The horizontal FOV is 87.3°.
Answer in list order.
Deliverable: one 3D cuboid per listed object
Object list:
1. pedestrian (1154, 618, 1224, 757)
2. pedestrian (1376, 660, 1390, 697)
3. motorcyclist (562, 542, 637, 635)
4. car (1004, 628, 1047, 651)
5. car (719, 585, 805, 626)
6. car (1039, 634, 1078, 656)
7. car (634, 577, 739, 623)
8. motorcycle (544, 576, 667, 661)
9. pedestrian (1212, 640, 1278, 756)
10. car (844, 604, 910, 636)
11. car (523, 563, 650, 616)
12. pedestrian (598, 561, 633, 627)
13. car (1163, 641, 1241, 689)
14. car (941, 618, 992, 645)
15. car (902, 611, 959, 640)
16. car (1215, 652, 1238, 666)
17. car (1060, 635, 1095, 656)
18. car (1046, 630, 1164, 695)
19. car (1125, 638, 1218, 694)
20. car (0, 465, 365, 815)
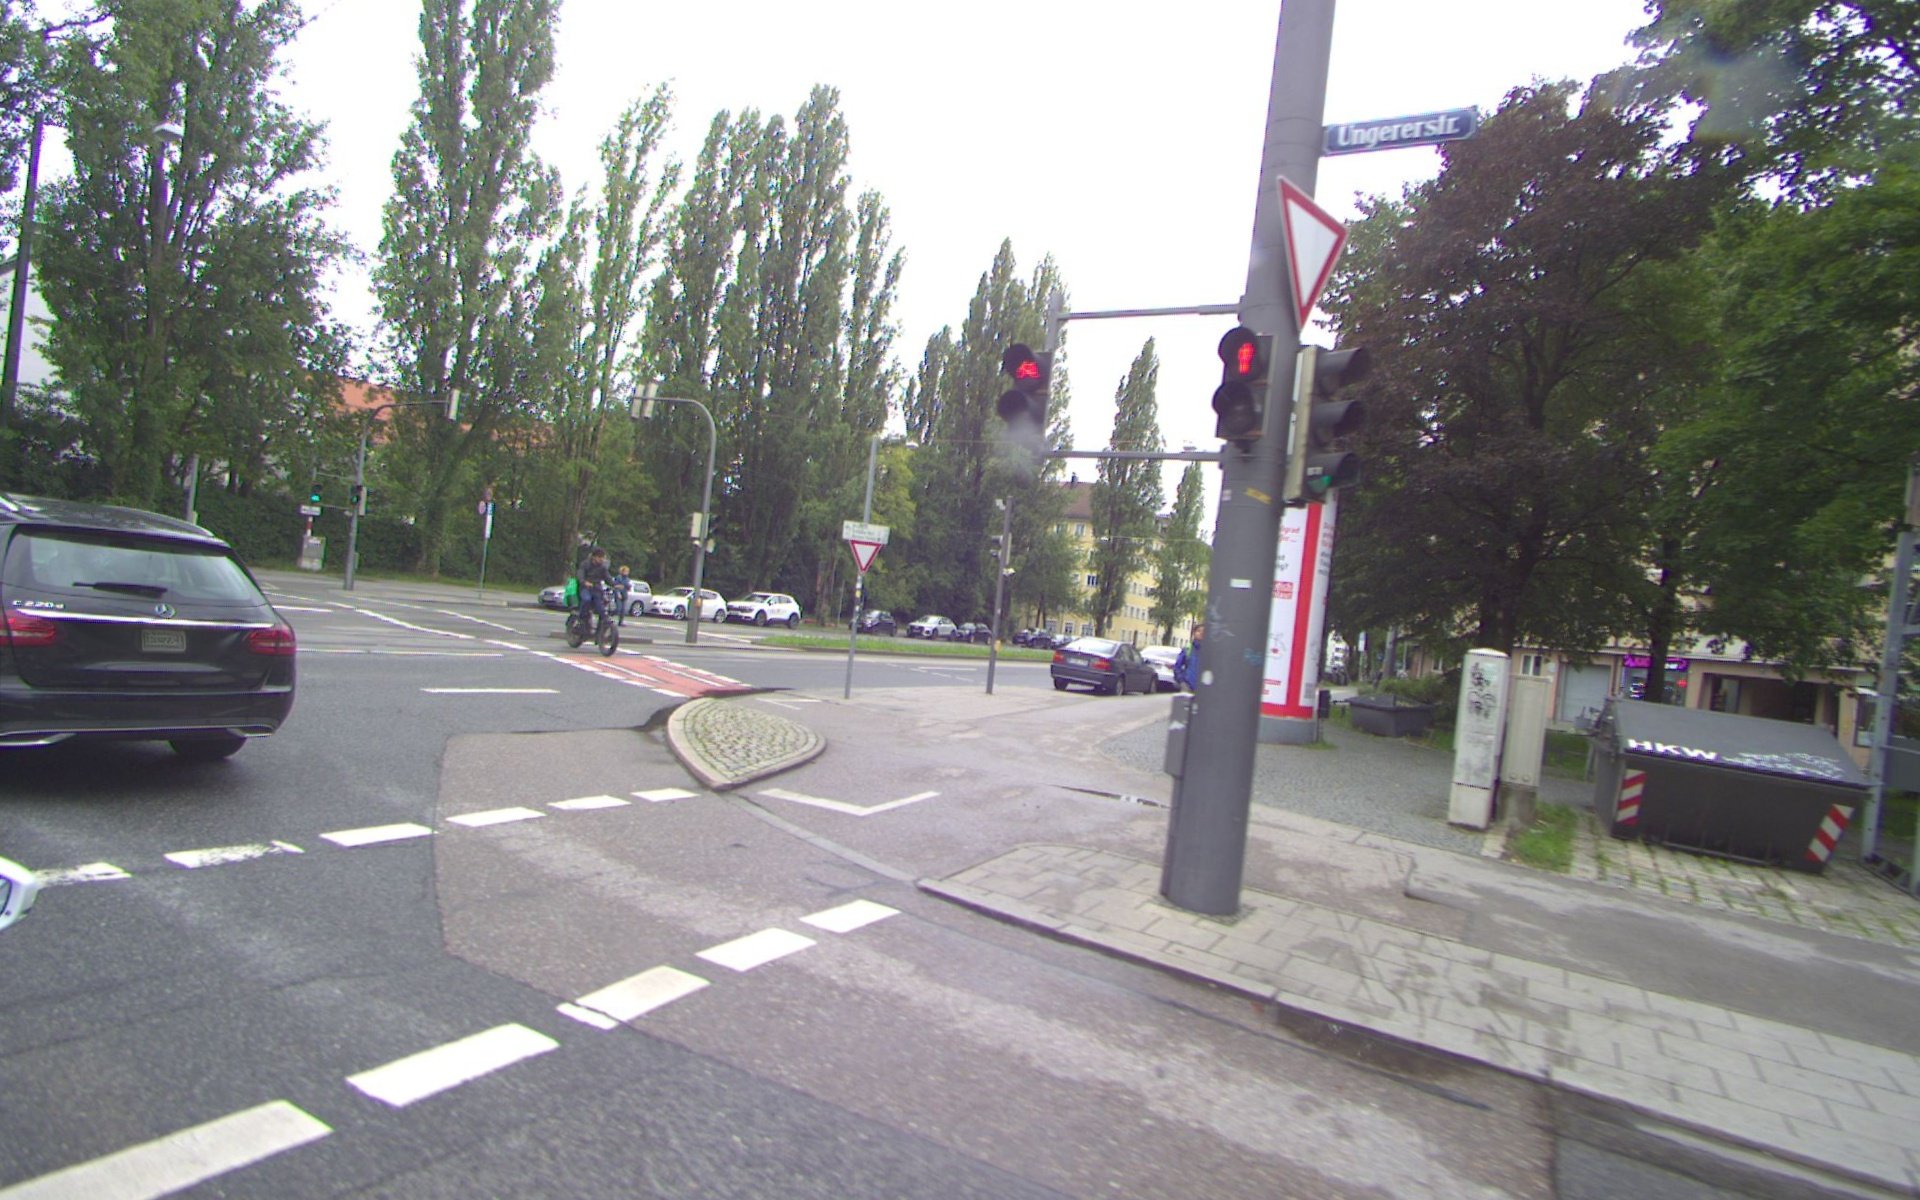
[{"bbox_3d":[2.929,1.090,12.846,0.536,1.684,0.718,6,4,30],"label":"pedestrian"},{"bbox_3d":[24.064,4.447,57.216,0.536,2.037,0.631,6,-2,21],"label":"pedestrian"},{"bbox_3d":[-6.141,-0.197,17.150,0.866,1.459,0.620,6,-2,27],"label":"motorcyclist"},{"bbox_3d":[5.213,3.161,79.438,1.755,1.504,4.136,6,-1,27],"label":"car"},{"bbox_3d":[-9.389,0.293,48.034,1.755,1.504,4.136,6,-1,27],"label":"car"},{"bbox_3d":[8.392,3.844,85.460,1.755,1.504,4.136,6,-1,27],"label":"car"},{"bbox_3d":[-11.707,0.032,43.299,1.756,1.504,4.252,6,-1,30],"label":"car"},{"bbox_3d":[-6.013,0.308,17.028,1.993,1.183,0.630,6,-2,27],"label":"motorcycle"},{"bbox_3d":[3.719,1.256,13.102,0.536,1.422,0.719,6,2,30],"label":"pedestrian"},{"bbox_3d":[-4.709,1.171,57.699,1.755,1.504,4.136,6,-1,27],"label":"car"},{"bbox_3d":[-14.189,-0.365,38.446,1.756,1.504,4.346,6,-1,30],"label":"car"},{"bbox_3d":[-9.401,-0.155,27.445,0.692,1.681,0.550,7,-2,-19],"label":"pedestrian"},{"bbox_3d":[8.802,2.350,36.354,1.700,1.424,4.371,7,-1,26],"label":"car"},{"bbox_3d":[0.499,2.184,69.028,1.755,1.504,4.136,6,-1,27],"label":"car"},{"bbox_3d":[-1.852,1.632,63.874,1.755,1.504,4.136,6,-1,27],"label":"car"},{"bbox_3d":[33.146,7.329,125.064,1.755,1.504,4.136,6,-1,27],"label":"car"},{"bbox_3d":[10.547,4.093,90.125,1.755,1.504,4.136,6,-1,27],"label":"car"},{"bbox_3d":[3.797,1.619,25.767,1.700,1.332,3.997,7,-1,26],"label":"car"},{"bbox_3d":[6.678,2.075,31.423,1.700,1.424,4.371,7,-1,26],"label":"car"},{"bbox_3d":[-6.041,-0.006,6.124,4.621,1.567,1.868,7,-1,27],"label":"car"}]
